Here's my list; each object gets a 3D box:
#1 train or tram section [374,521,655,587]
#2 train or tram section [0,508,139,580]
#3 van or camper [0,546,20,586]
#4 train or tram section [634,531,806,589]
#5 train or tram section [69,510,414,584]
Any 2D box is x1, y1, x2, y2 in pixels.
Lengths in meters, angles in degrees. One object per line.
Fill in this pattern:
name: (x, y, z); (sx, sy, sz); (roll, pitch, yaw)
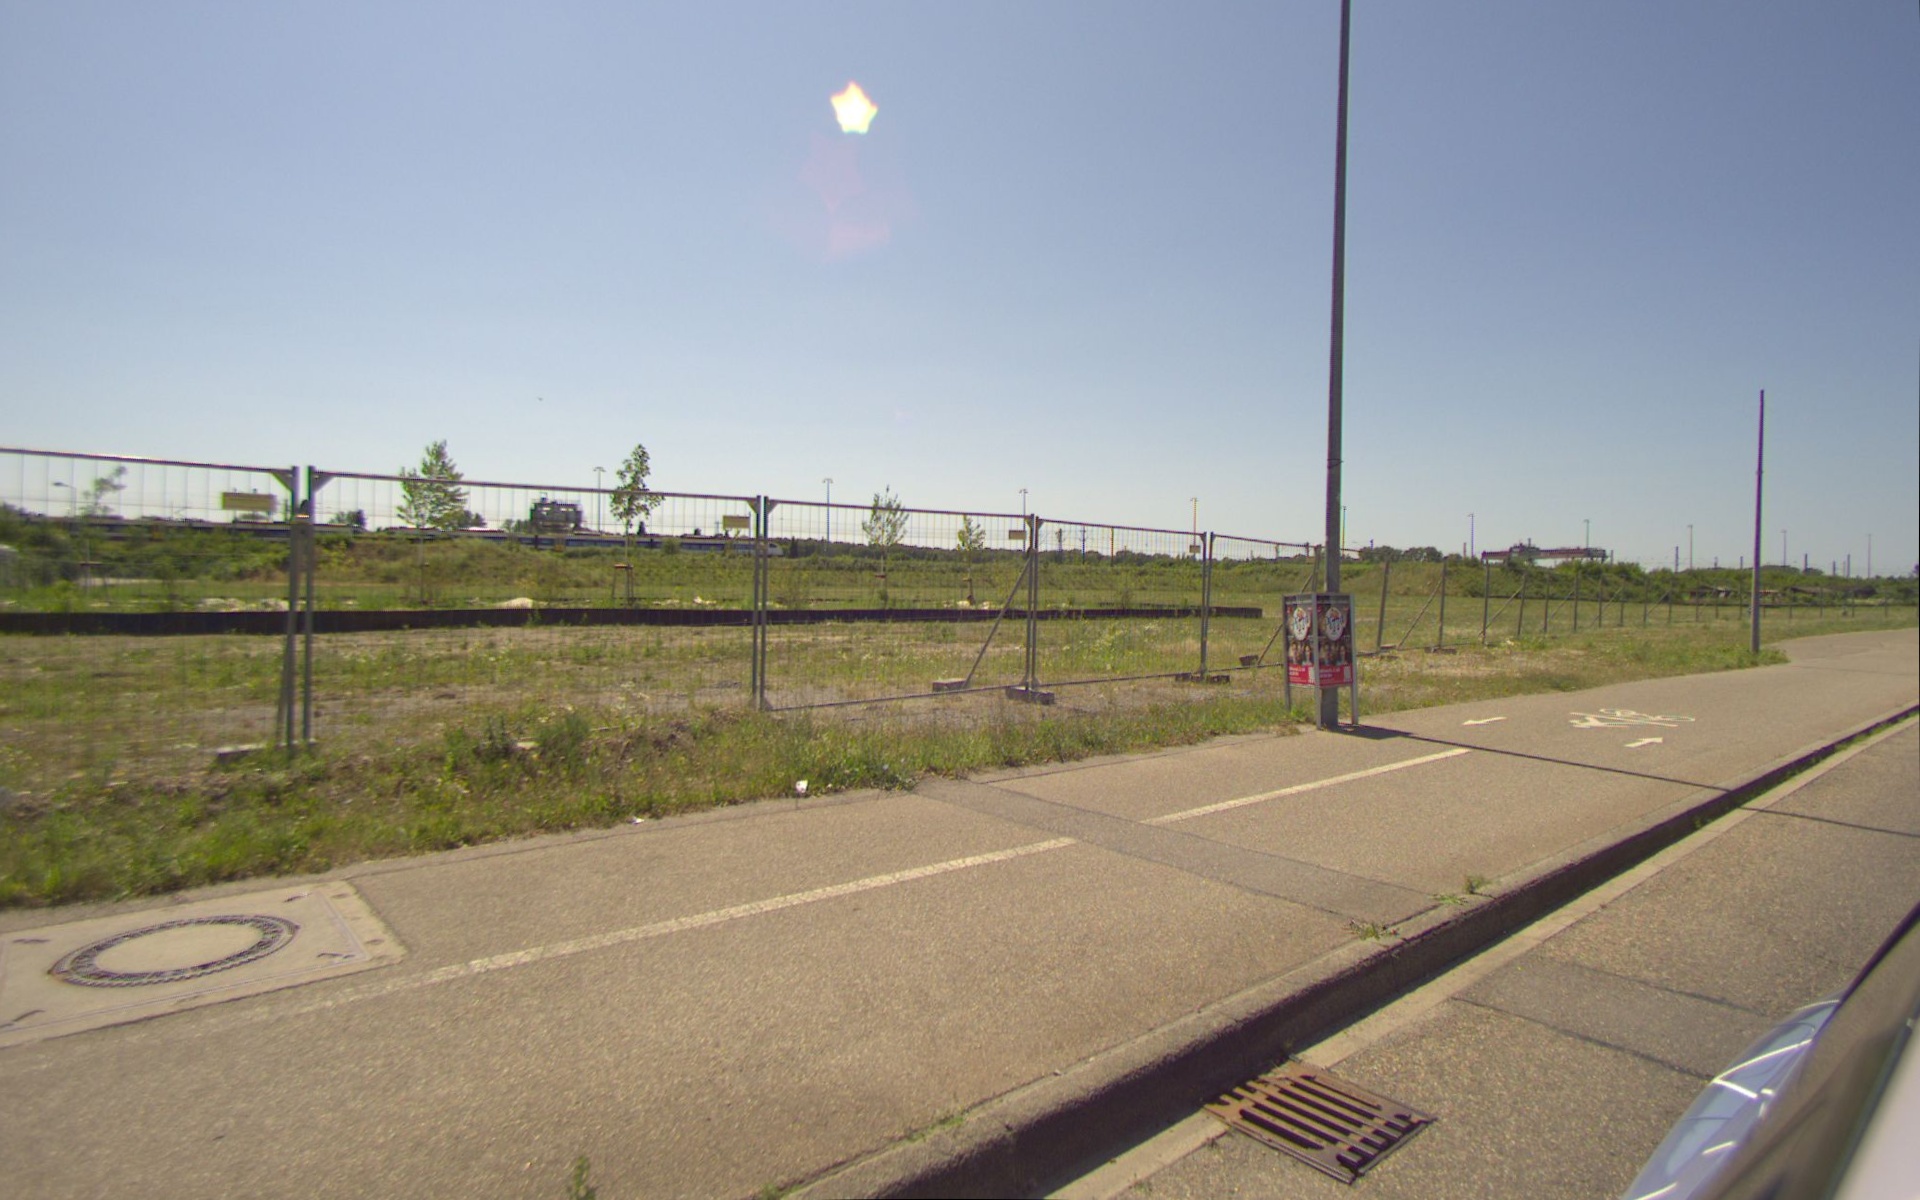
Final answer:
train or tram section: (-77.088, -7.753, 177.829); (43.853, 10.050, 9.618); (1, 0, -24)
train or tram section: (-139.633, -8.214, 149.723); (26.441, 10.050, 9.619); (1, 0, -24)
van or camper: (-63.079, -2.192, 65.362); (2.356, 2.566, 5.443); (0, 1, -30)
train or tram section: (-45.383, -7.348, 192.063); (30.563, 10.050, 9.619); (1, 0, -24)
train or tram section: (-112.629, -8.022, 161.849); (43.853, 10.050, 9.618); (1, 0, -25)
